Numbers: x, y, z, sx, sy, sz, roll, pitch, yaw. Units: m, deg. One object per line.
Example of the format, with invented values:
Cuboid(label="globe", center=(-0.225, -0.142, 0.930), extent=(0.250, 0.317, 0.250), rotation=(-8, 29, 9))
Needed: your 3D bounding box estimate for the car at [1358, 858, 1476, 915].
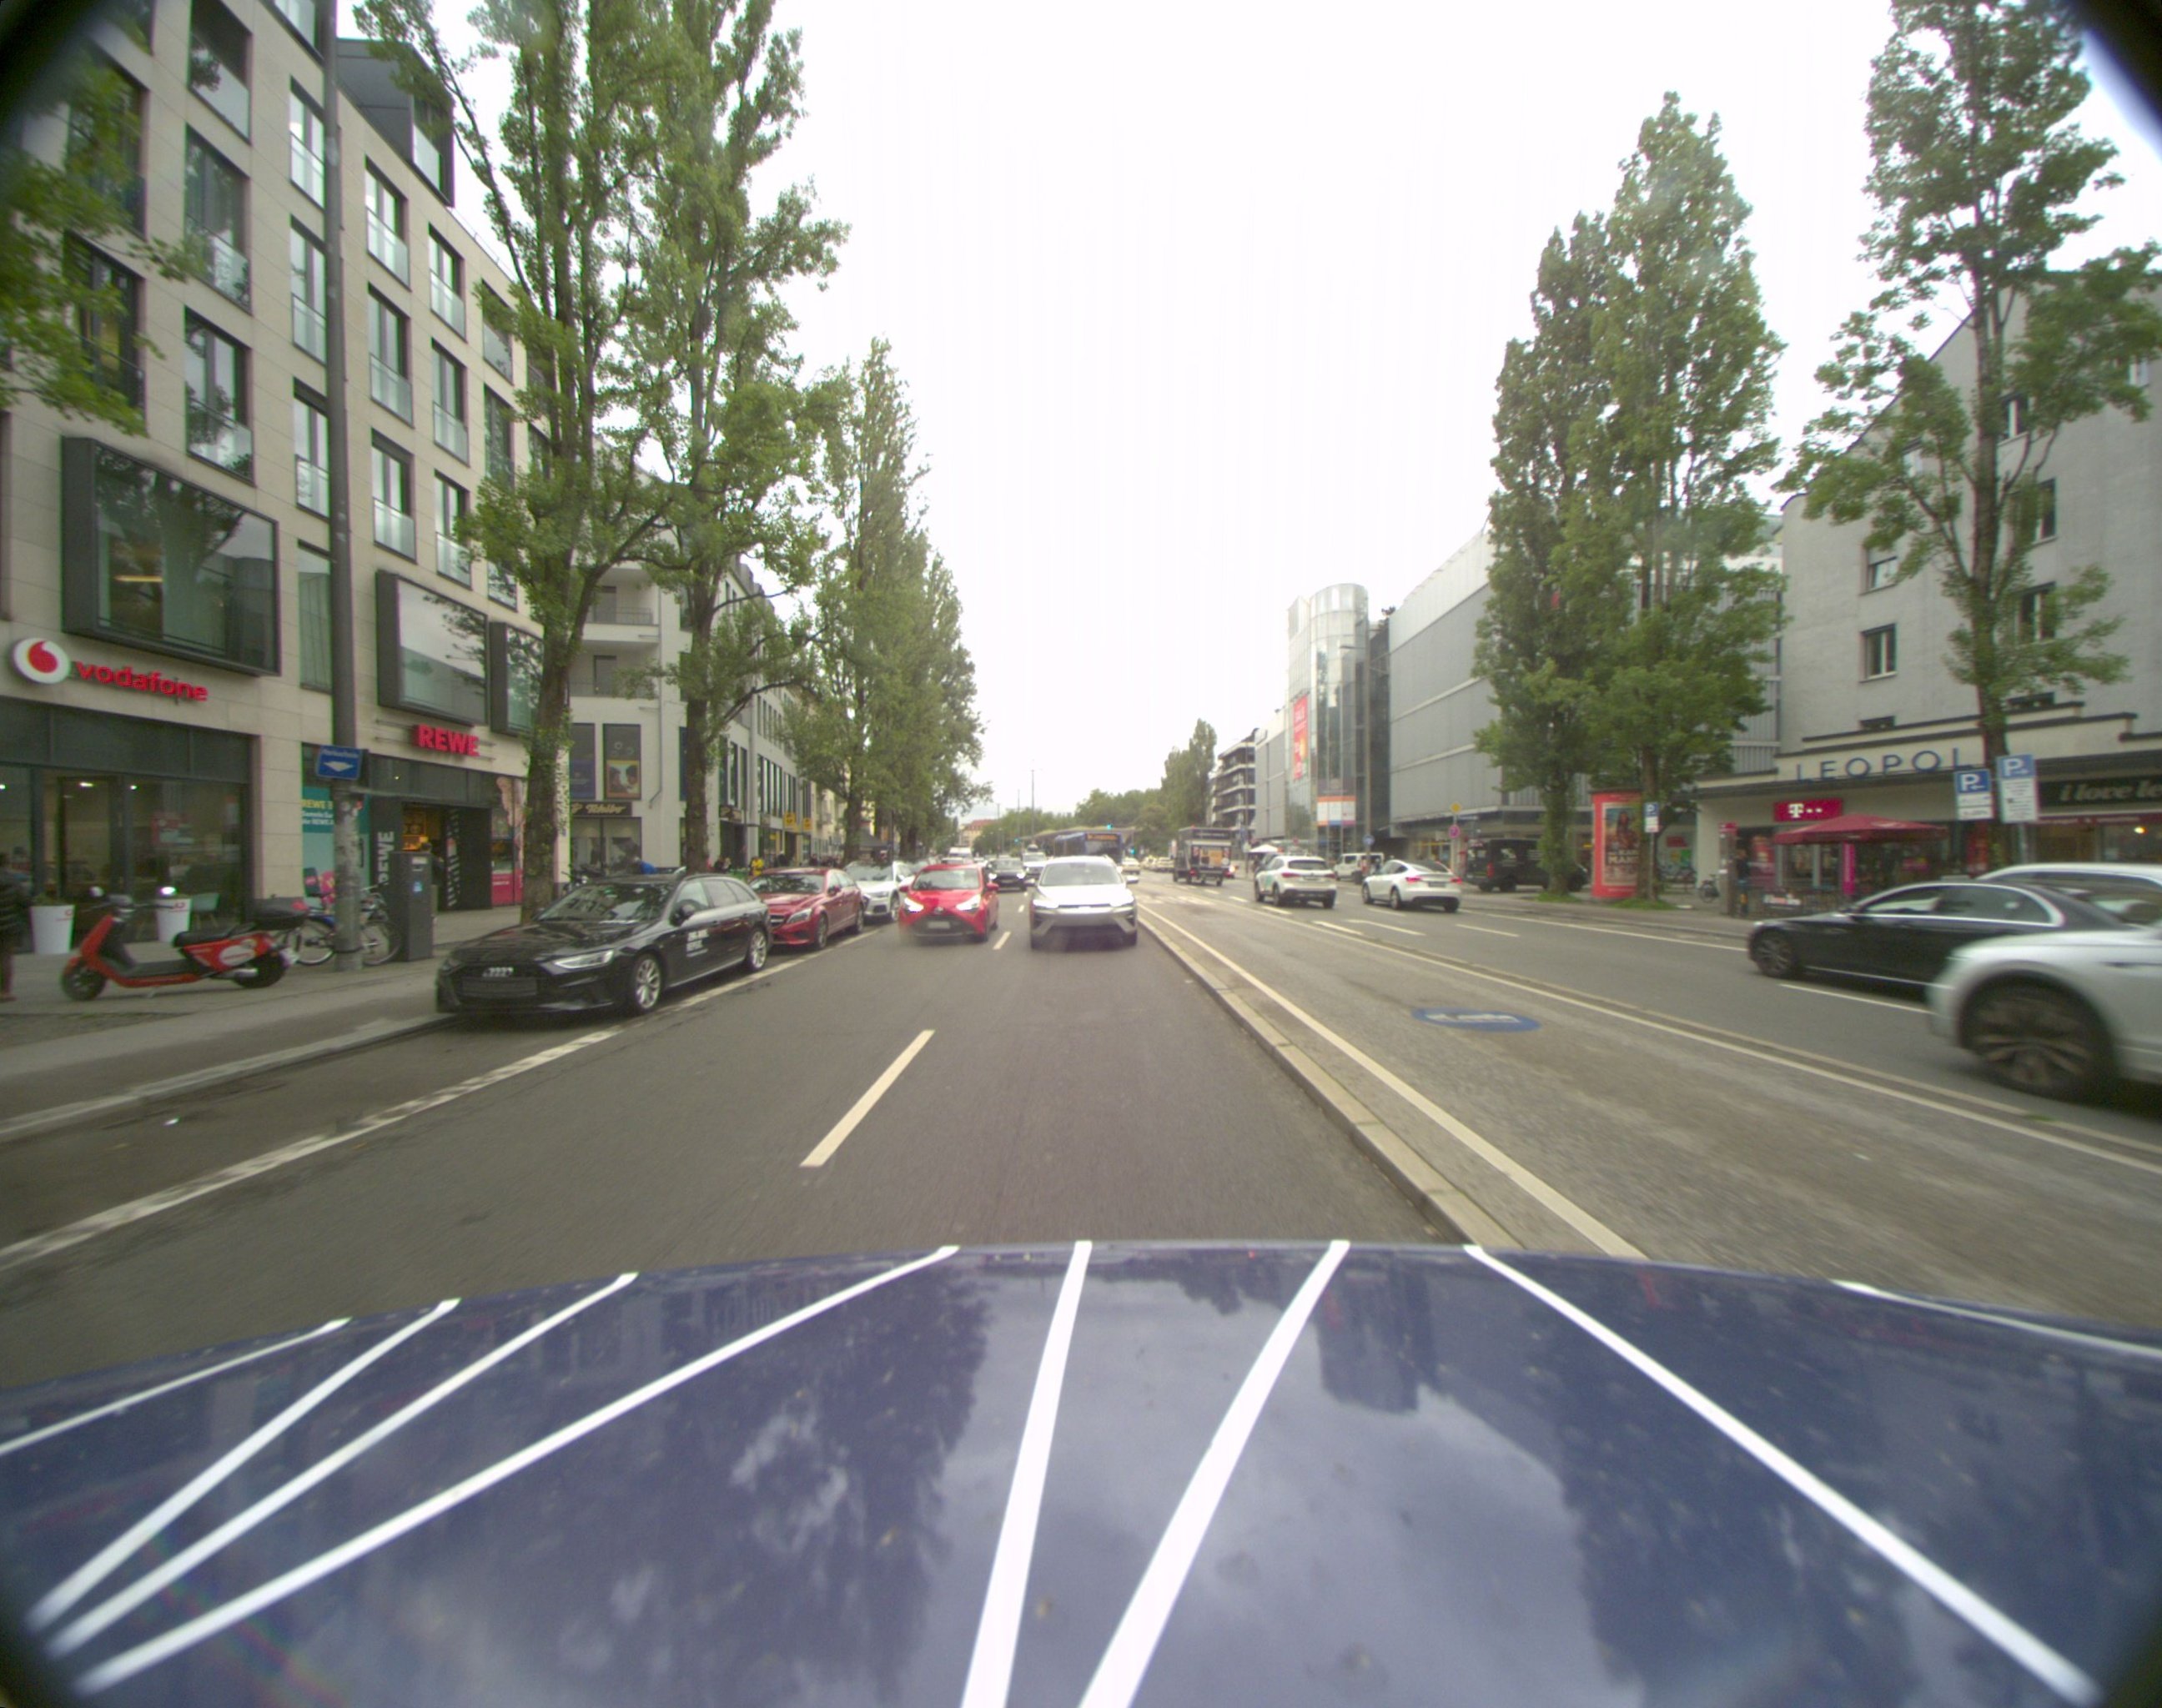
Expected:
Cuboid(label="car", center=(10.983, 1.001, 25.263), extent=(1.998, 1.641, 4.636), rotation=(1, 0, 2))

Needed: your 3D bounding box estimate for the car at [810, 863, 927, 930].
Cuboid(label="car", center=(-5.428, 1.022, 20.055), extent=(1.815, 1.491, 4.805), rotation=(1, 0, -1))

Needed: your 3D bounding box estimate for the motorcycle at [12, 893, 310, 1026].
Cuboid(label="motorcycle", center=(-9.926, 1.092, 8.330), extent=(1.977, 1.244, 0.638), rotation=(0, 1, -33))

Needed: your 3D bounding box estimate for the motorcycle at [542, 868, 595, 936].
Cuboid(label="motorcycle", center=(-10.963, 0.986, 16.299), extent=(0.688, 1.348, 1.640), rotation=(0, 0, -24))

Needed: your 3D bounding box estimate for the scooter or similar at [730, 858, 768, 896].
Cuboid(label="scooter or similar", center=(-10.794, 0.746, 24.696), extent=(1.053, 1.219, 0.379), rotation=(0, 1, -5))

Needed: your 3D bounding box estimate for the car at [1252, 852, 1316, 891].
Cuboid(label="car", center=(10.566, 0.842, 39.989), extent=(1.998, 1.852, 5.712), rotation=(2, 0, 2))

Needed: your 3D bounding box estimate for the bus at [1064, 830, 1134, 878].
Cuboid(label="bus", center=(1.000, -0.066, 52.224), extent=(2.943, 2.927, 11.204), rotation=(-1, 1, -8))

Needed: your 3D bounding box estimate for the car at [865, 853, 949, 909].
Cuboid(label="car", center=(-5.998, 0.850, 26.762), extent=(1.930, 1.690, 4.648), rotation=(-2, 1, -1))

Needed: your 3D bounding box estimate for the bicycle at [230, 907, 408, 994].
Cuboid(label="bicycle", center=(-10.059, 1.230, 10.128), extent=(0.434, 0.935, 1.763), rotation=(1, 0, 8))

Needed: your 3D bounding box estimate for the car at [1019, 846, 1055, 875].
Cuboid(label="car", center=(-3.153, 0.394, 53.641), extent=(2.000, 1.889, 4.231), rotation=(-2, 1, -10))

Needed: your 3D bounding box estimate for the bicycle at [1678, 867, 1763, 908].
Cuboid(label="bicycle", center=(21.908, 1.128, 26.092), extent=(0.849, 1.300, 2.302), rotation=(0, 0, -5))

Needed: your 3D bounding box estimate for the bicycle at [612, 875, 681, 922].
Cuboid(label="bicycle", center=(-11.250, 1.137, 19.675), extent=(1.764, 1.165, 0.452), rotation=(0, 1, 16))

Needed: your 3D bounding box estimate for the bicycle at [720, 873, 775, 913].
Cuboid(label="bicycle", center=(-10.378, 1.206, 23.654), extent=(1.483, 1.200, 0.535), rotation=(0, 0, -6))

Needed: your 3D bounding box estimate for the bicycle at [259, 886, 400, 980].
Cuboid(label="bicycle", center=(-10.799, 1.088, 11.004), extent=(0.456, 1.181, 1.715), rotation=(0, 0, -5))

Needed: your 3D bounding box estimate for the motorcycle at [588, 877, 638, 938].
Cuboid(label="motorcycle", center=(-9.749, 1.082, 15.859), extent=(0.688, 1.149, 1.640), rotation=(0, 0, -24))

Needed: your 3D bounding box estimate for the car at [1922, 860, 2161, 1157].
Cuboid(label="car", center=(6.922, 0.868, 3.173), extent=(1.944, 1.632, 4.464), rotation=(0, 0, 2))

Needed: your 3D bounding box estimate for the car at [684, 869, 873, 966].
Cuboid(label="car", center=(-5.488, 1.062, 14.557), extent=(1.936, 1.441, 4.802), rotation=(0, 0, -3))

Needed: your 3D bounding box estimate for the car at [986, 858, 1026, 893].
Cuboid(label="car", center=(-3.441, 0.954, 35.429), extent=(1.740, 1.461, 4.048), rotation=(-1, 0, -4))

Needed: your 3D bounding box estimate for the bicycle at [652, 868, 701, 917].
Cuboid(label="bicycle", center=(-9.498, 0.875, 17.893), extent=(0.644, 1.057, 1.769), rotation=(0, 0, -15))

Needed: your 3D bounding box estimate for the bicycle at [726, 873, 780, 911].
Cuboid(label="bicycle", center=(-10.433, 1.206, 24.204), extent=(1.483, 1.200, 0.535), rotation=(0, 0, -6))

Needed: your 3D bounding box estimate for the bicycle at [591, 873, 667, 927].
Cuboid(label="bicycle", center=(-10.659, 1.066, 17.964), extent=(0.546, 1.182, 1.457), rotation=(1, 0, 32))

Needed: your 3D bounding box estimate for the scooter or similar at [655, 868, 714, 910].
Cuboid(label="scooter or similar", center=(-11.416, 1.002, 21.888), extent=(1.388, 1.204, 0.554), rotation=(0, 1, 0))

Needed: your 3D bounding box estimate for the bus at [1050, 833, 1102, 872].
Cuboid(label="bus", center=(-0.623, -0.187, 64.055), extent=(2.943, 2.927, 11.204), rotation=(-1, 1, -8))

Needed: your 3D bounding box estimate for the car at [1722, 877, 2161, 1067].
Cuboid(label="car", center=(9.962, 1.053, 8.430), extent=(1.944, 1.425, 4.539), rotation=(0, 0, 2))

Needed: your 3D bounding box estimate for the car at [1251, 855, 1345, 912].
Cuboid(label="car", center=(7.157, 0.903, 25.555), extent=(1.865, 1.701, 4.536), rotation=(1, 0, 0))

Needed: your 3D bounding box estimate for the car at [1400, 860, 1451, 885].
Cuboid(label="car", center=(21.377, 1.116, 47.336), extent=(1.925, 1.430, 4.511), rotation=(0, 0, 11))

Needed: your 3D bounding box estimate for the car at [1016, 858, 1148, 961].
Cuboid(label="car", center=(-0.144, 0.872, 13.852), extent=(1.897, 1.483, 3.997), rotation=(-2, 1, -7))

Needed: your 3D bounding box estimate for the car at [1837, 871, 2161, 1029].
Cuboid(label="car", center=(12.790, 1.085, 9.755), extent=(1.998, 1.620, 4.383), rotation=(0, 0, 4))

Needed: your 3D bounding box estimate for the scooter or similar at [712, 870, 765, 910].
Cuboid(label="scooter or similar", center=(-10.300, 1.076, 22.873), extent=(1.439, 1.194, 0.311), rotation=(0, 1, -6))

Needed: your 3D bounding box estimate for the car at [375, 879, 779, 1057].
Cuboid(label="car", center=(-5.385, 1.091, 9.006), extent=(1.852, 1.420, 4.425), rotation=(0, 0, -1))

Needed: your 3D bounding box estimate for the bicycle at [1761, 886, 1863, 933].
Cuboid(label="bicycle", center=(16.980, 1.271, 17.706), extent=(0.460, 0.958, 1.880), rotation=(0, 0, -4))

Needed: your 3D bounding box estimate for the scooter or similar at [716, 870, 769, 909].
Cuboid(label="scooter or similar", center=(-10.326, 1.081, 23.206), extent=(1.439, 1.194, 0.311), rotation=(0, 1, -6))

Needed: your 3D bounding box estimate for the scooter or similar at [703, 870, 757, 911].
Cuboid(label="scooter or similar", center=(-10.428, 1.083, 22.608), extent=(1.439, 1.194, 0.311), rotation=(0, 1, -6))
